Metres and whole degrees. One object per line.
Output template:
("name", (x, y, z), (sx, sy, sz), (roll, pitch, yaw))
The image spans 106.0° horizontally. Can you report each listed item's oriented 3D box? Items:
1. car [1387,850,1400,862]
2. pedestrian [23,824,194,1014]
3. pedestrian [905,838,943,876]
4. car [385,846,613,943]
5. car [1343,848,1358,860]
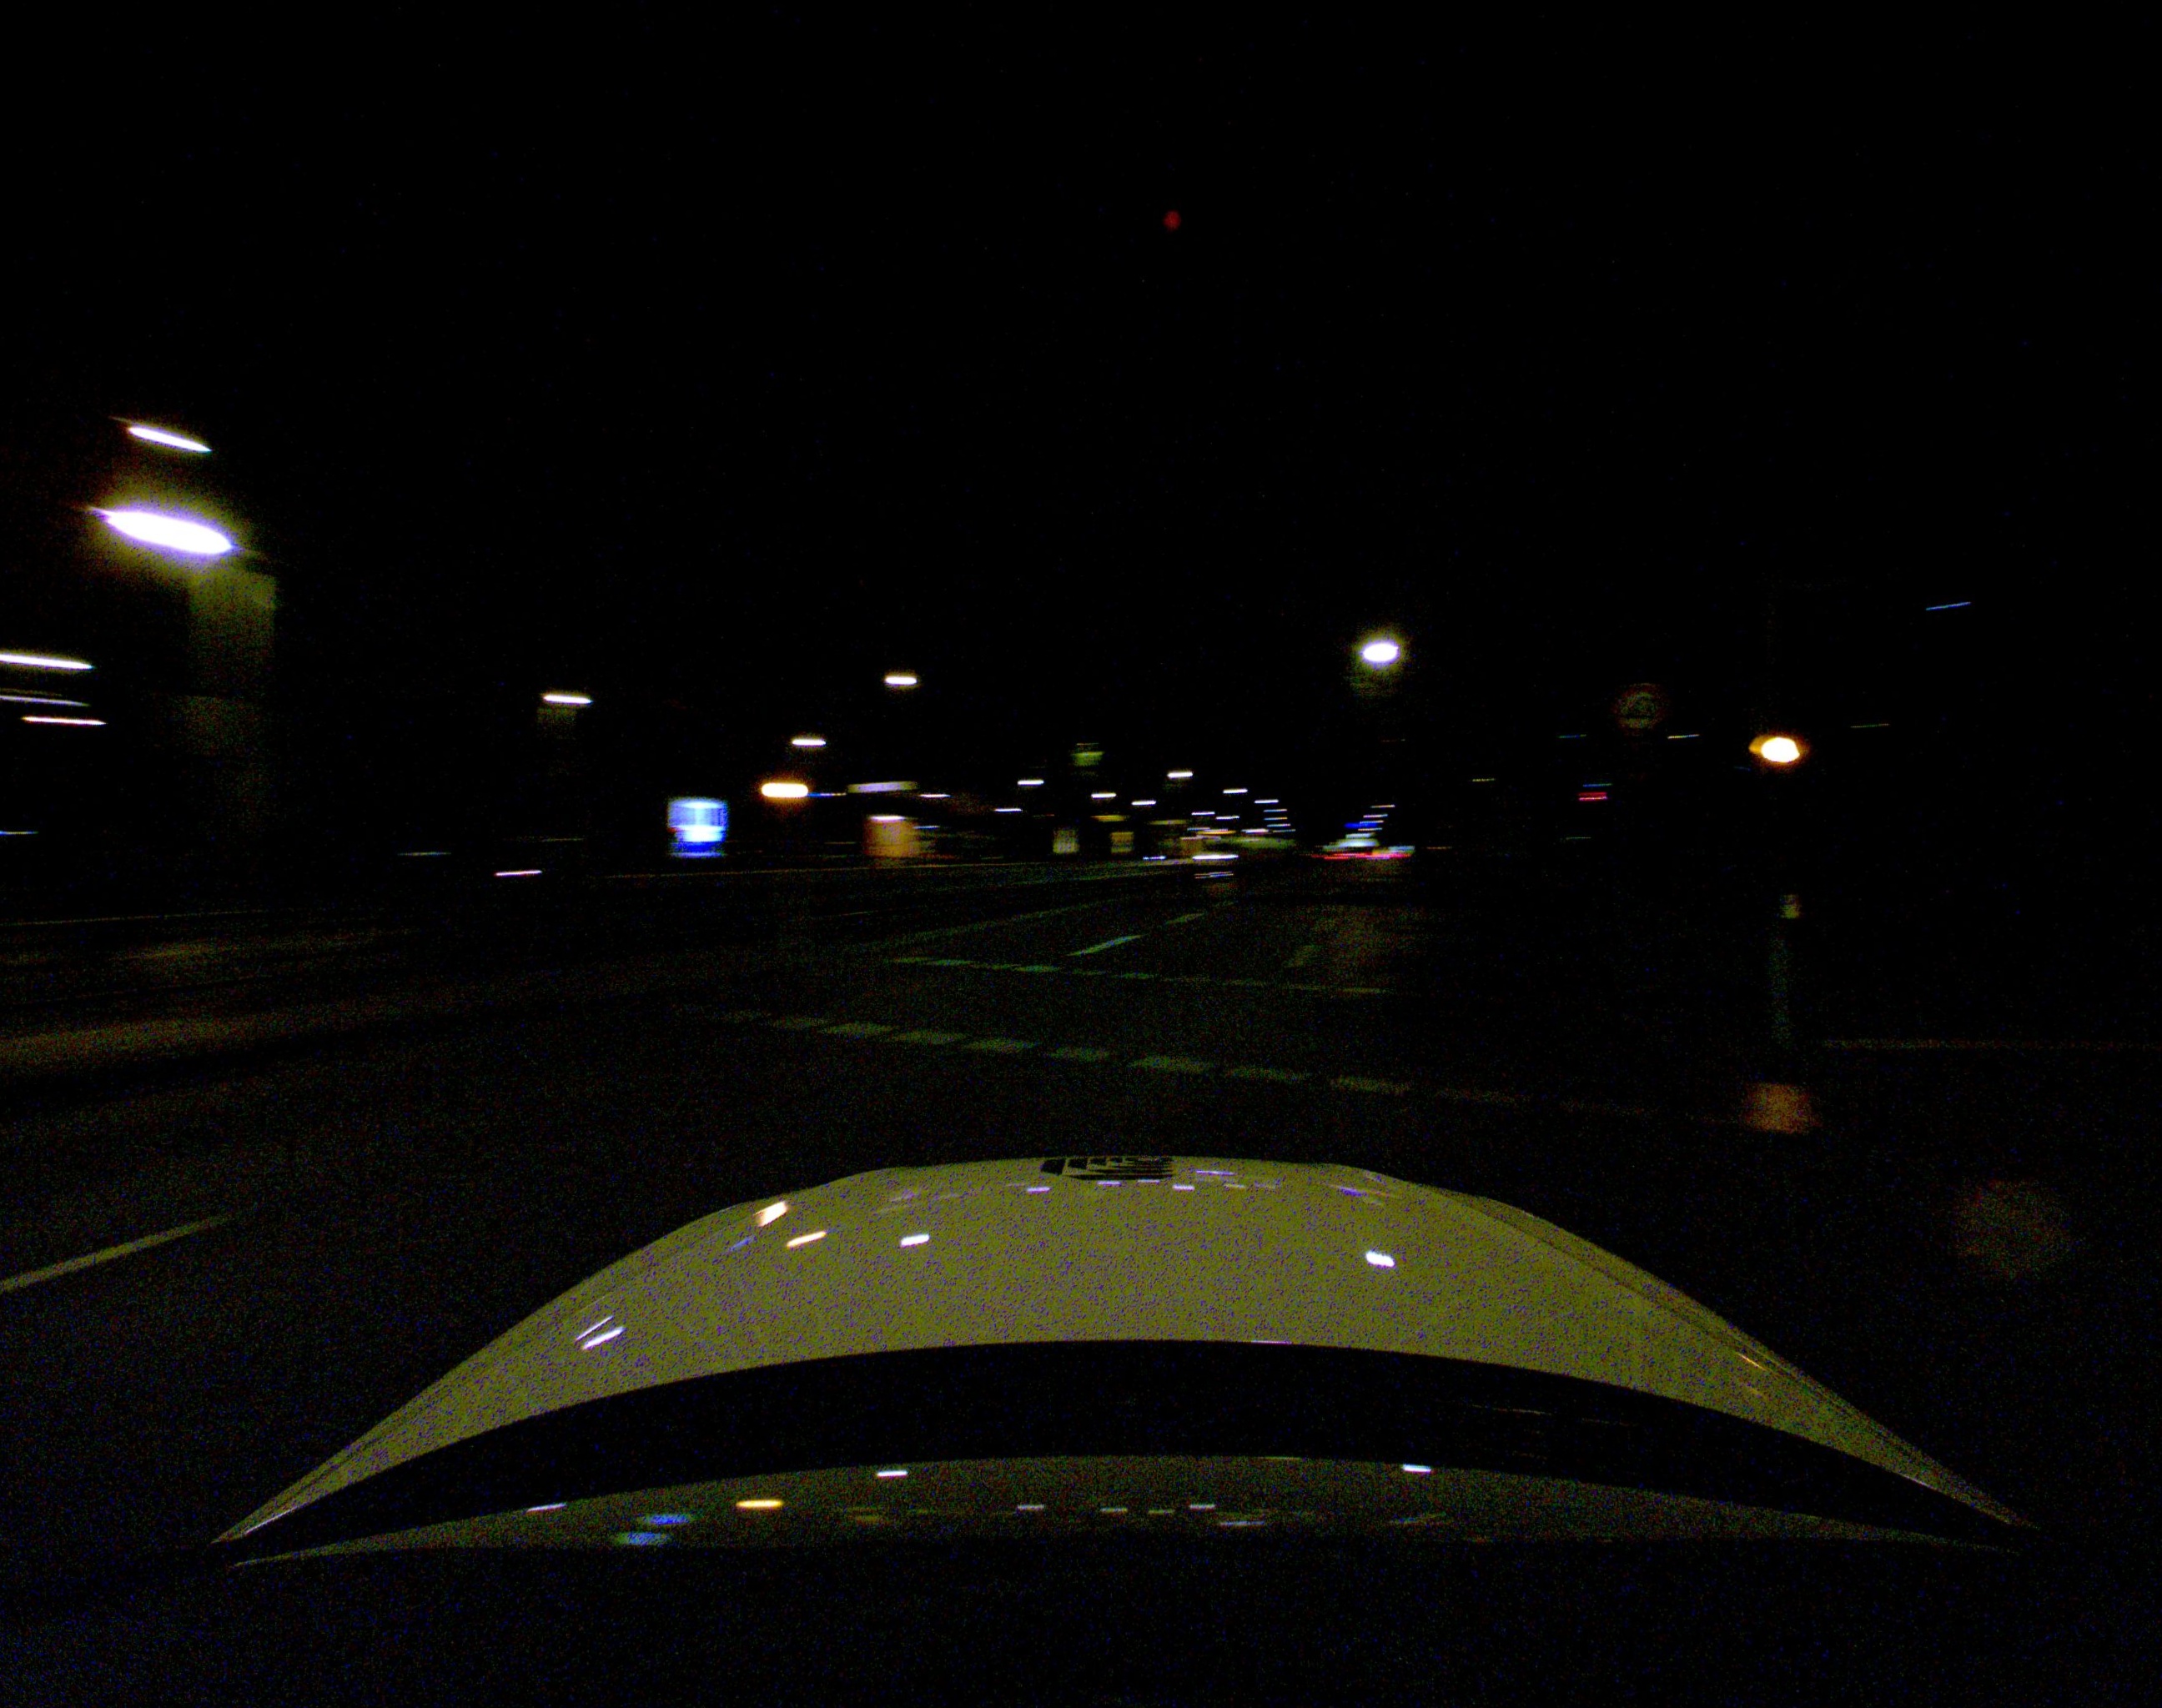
("car", (48.827, 0.356, 127.340), (1.789, 1.662, 4.021), (2, 2, 20))
("pedestrian", (-9.423, 0.583, 7.914), (0.824, 1.744, 0.761), (0, 2, 17))
("pedestrian", (-6.308, 0.121, 32.691), (1.150, 1.500, 1.066), (-1, -1, -32))
("car", (-14.089, 0.897, 20.000), (1.976, 2.013, 4.023), (-2, 1, 23))
("car", (39.330, 0.027, 118.742), (1.842, 1.659, 4.483), (1, 0, 22))
